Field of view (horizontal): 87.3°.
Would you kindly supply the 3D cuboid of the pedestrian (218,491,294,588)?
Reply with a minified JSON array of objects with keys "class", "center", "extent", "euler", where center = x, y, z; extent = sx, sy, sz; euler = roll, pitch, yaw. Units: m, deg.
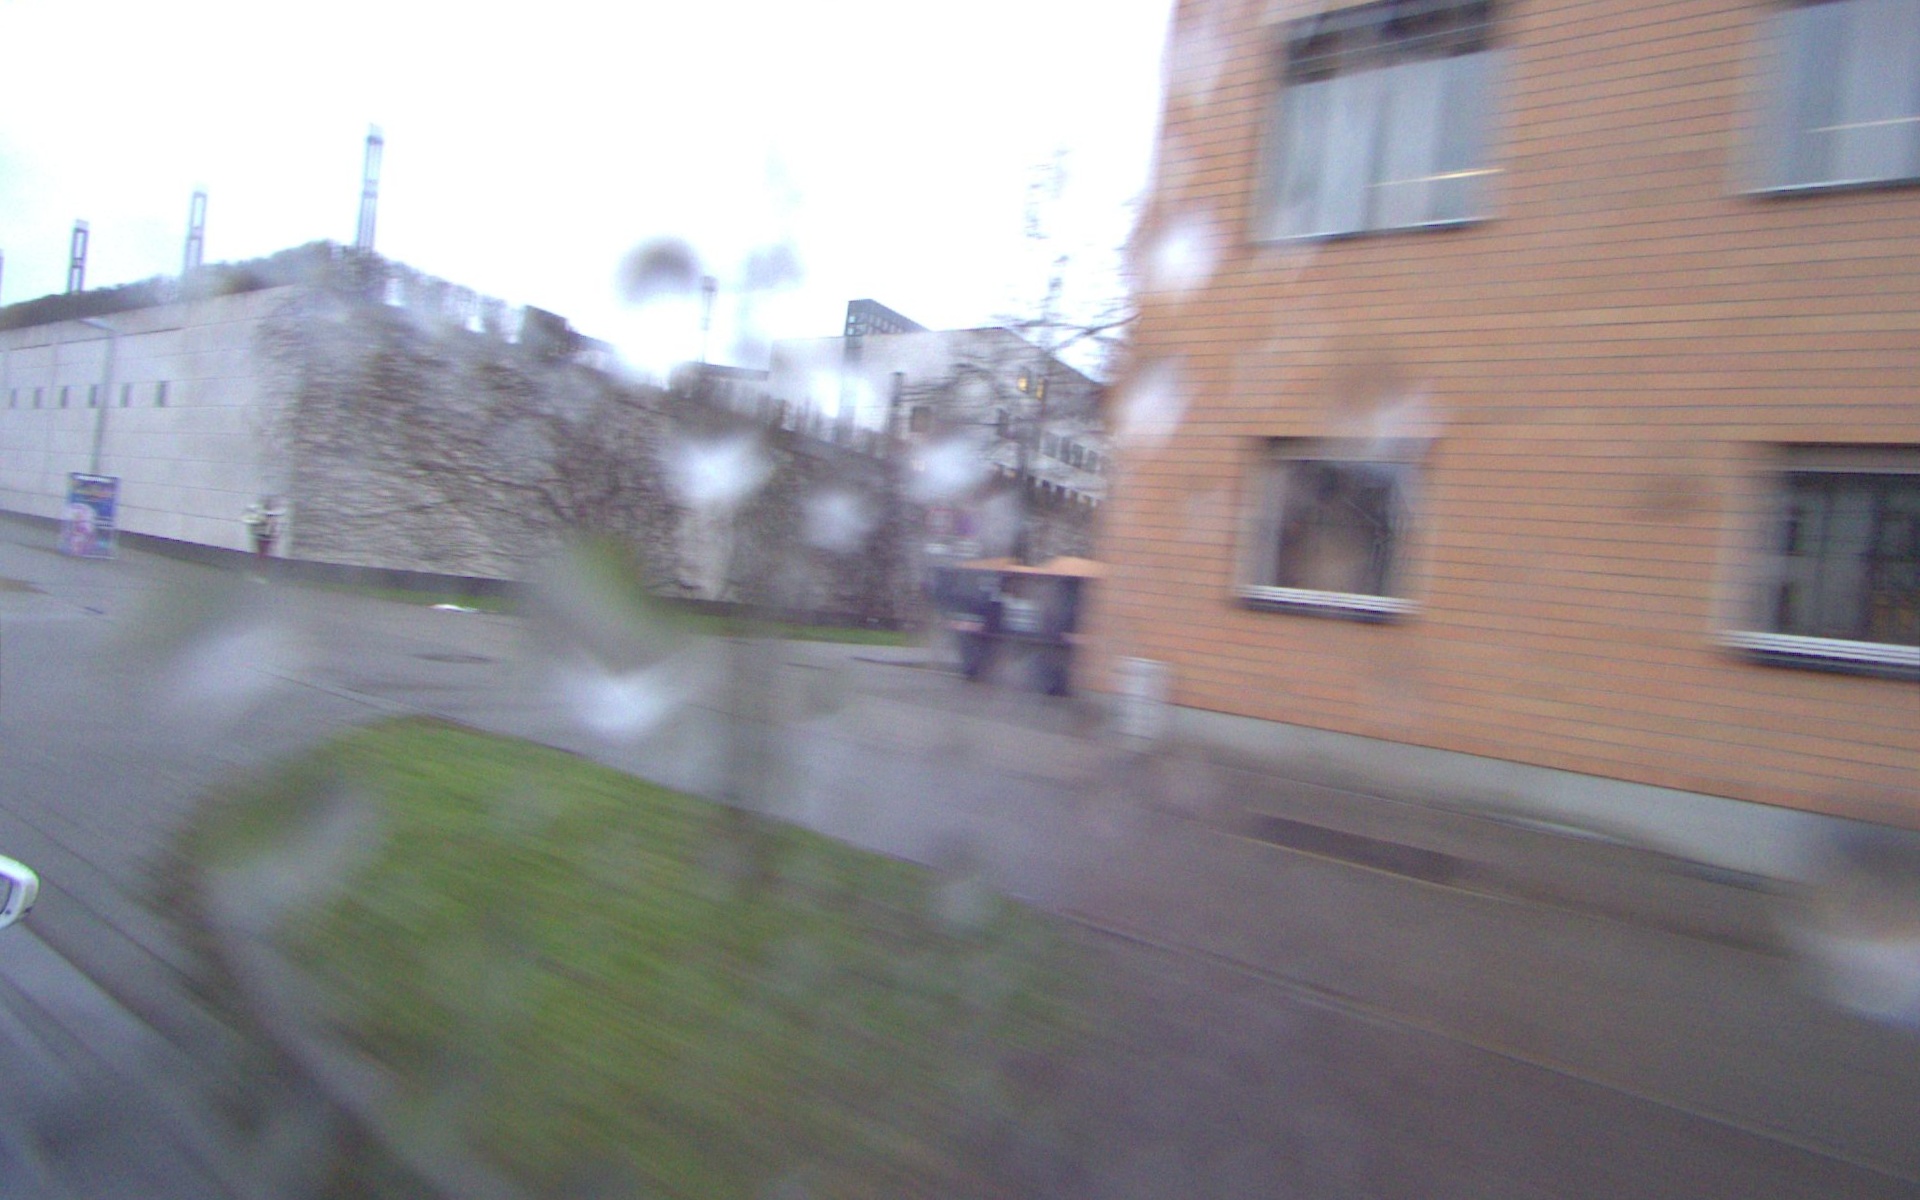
[{"class":"pedestrian","center":[-12.916,-1.105,18.458],"extent":[1.049,1.631,0.622],"euler":[7,1,30]}]
